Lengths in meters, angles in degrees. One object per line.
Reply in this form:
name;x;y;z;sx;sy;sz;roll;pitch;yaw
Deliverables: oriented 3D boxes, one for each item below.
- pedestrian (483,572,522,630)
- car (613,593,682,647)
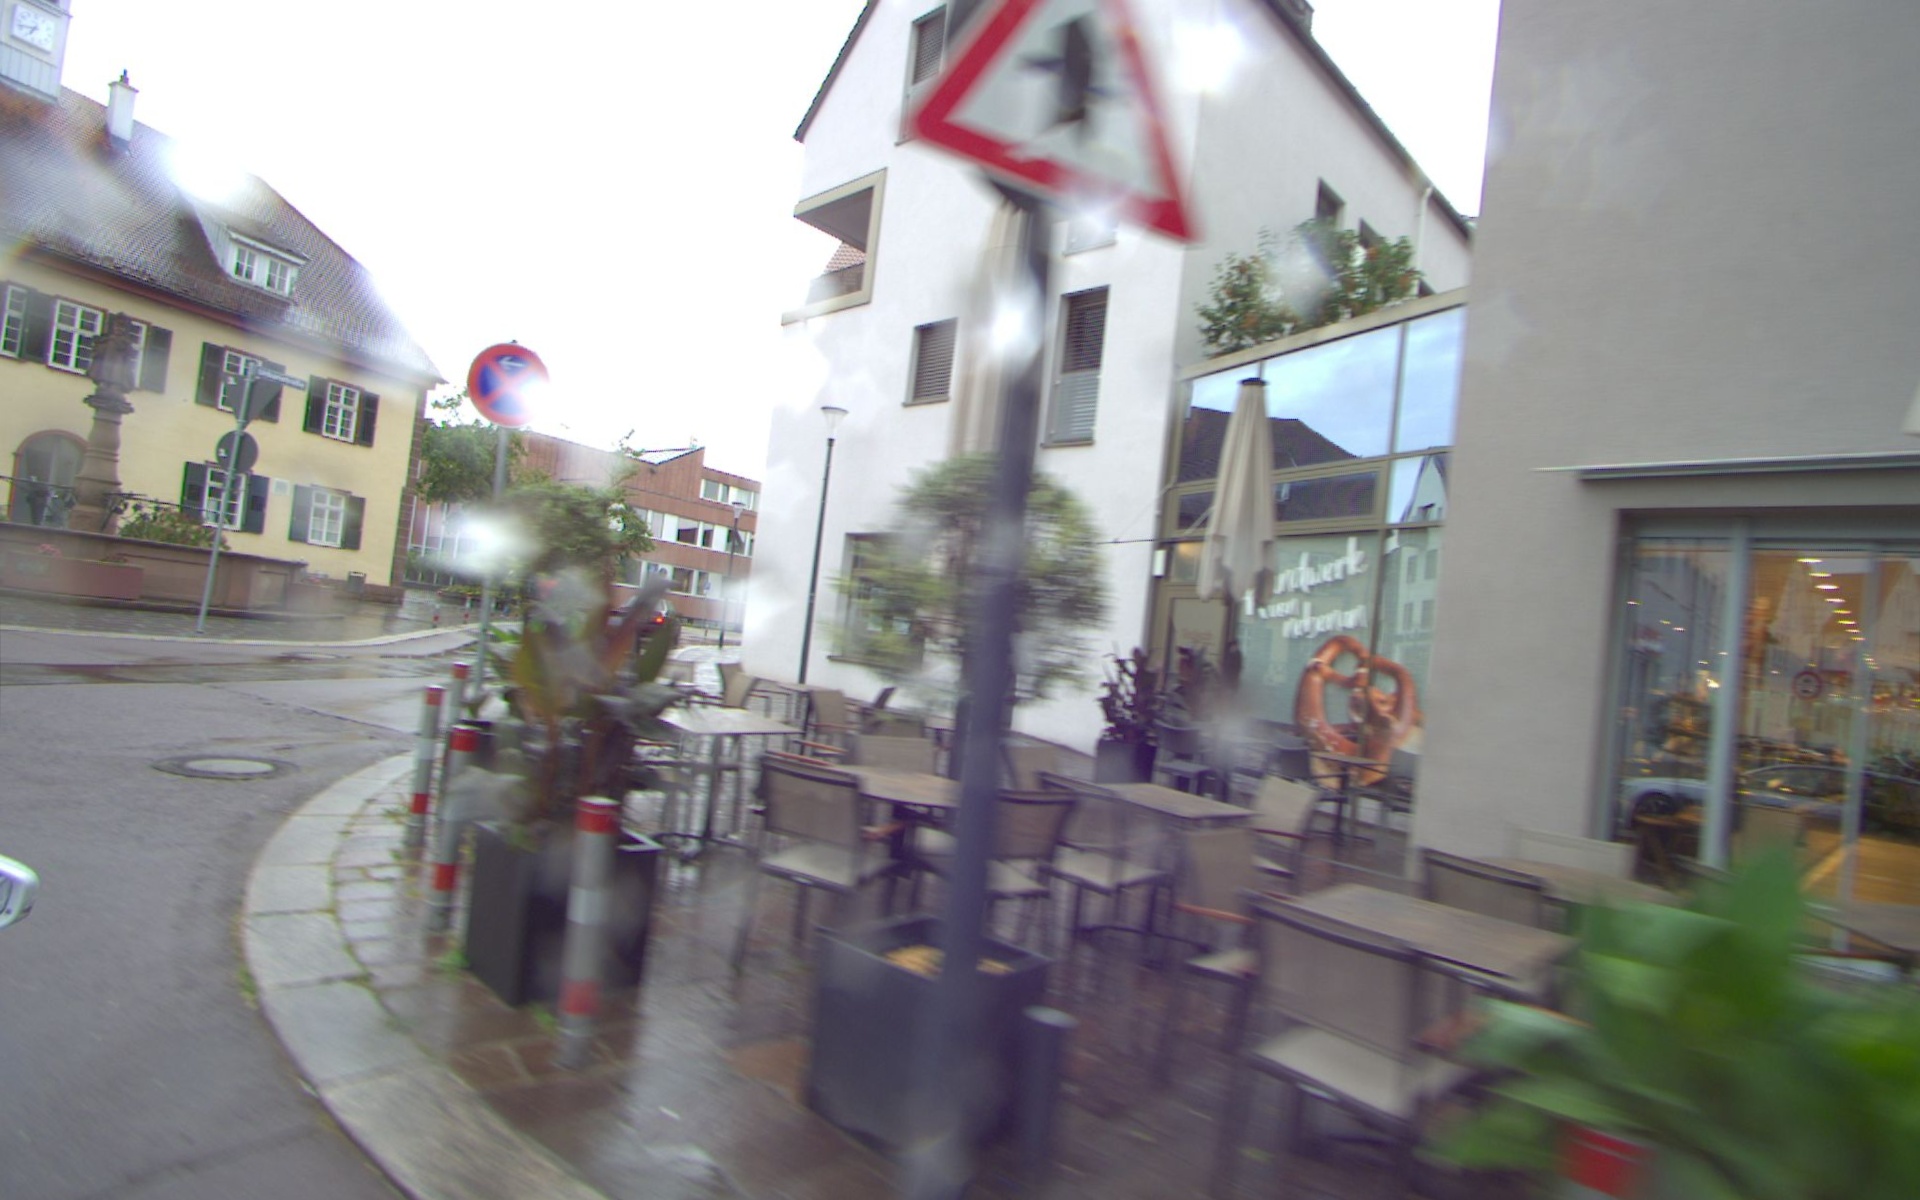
pedestrian;-15.392;0.048;33.830;0.778;1.843;0.686;7;-1;0
car;-9.694;0.605;31.427;1.646;1.379;3.598;8;-2;-13
